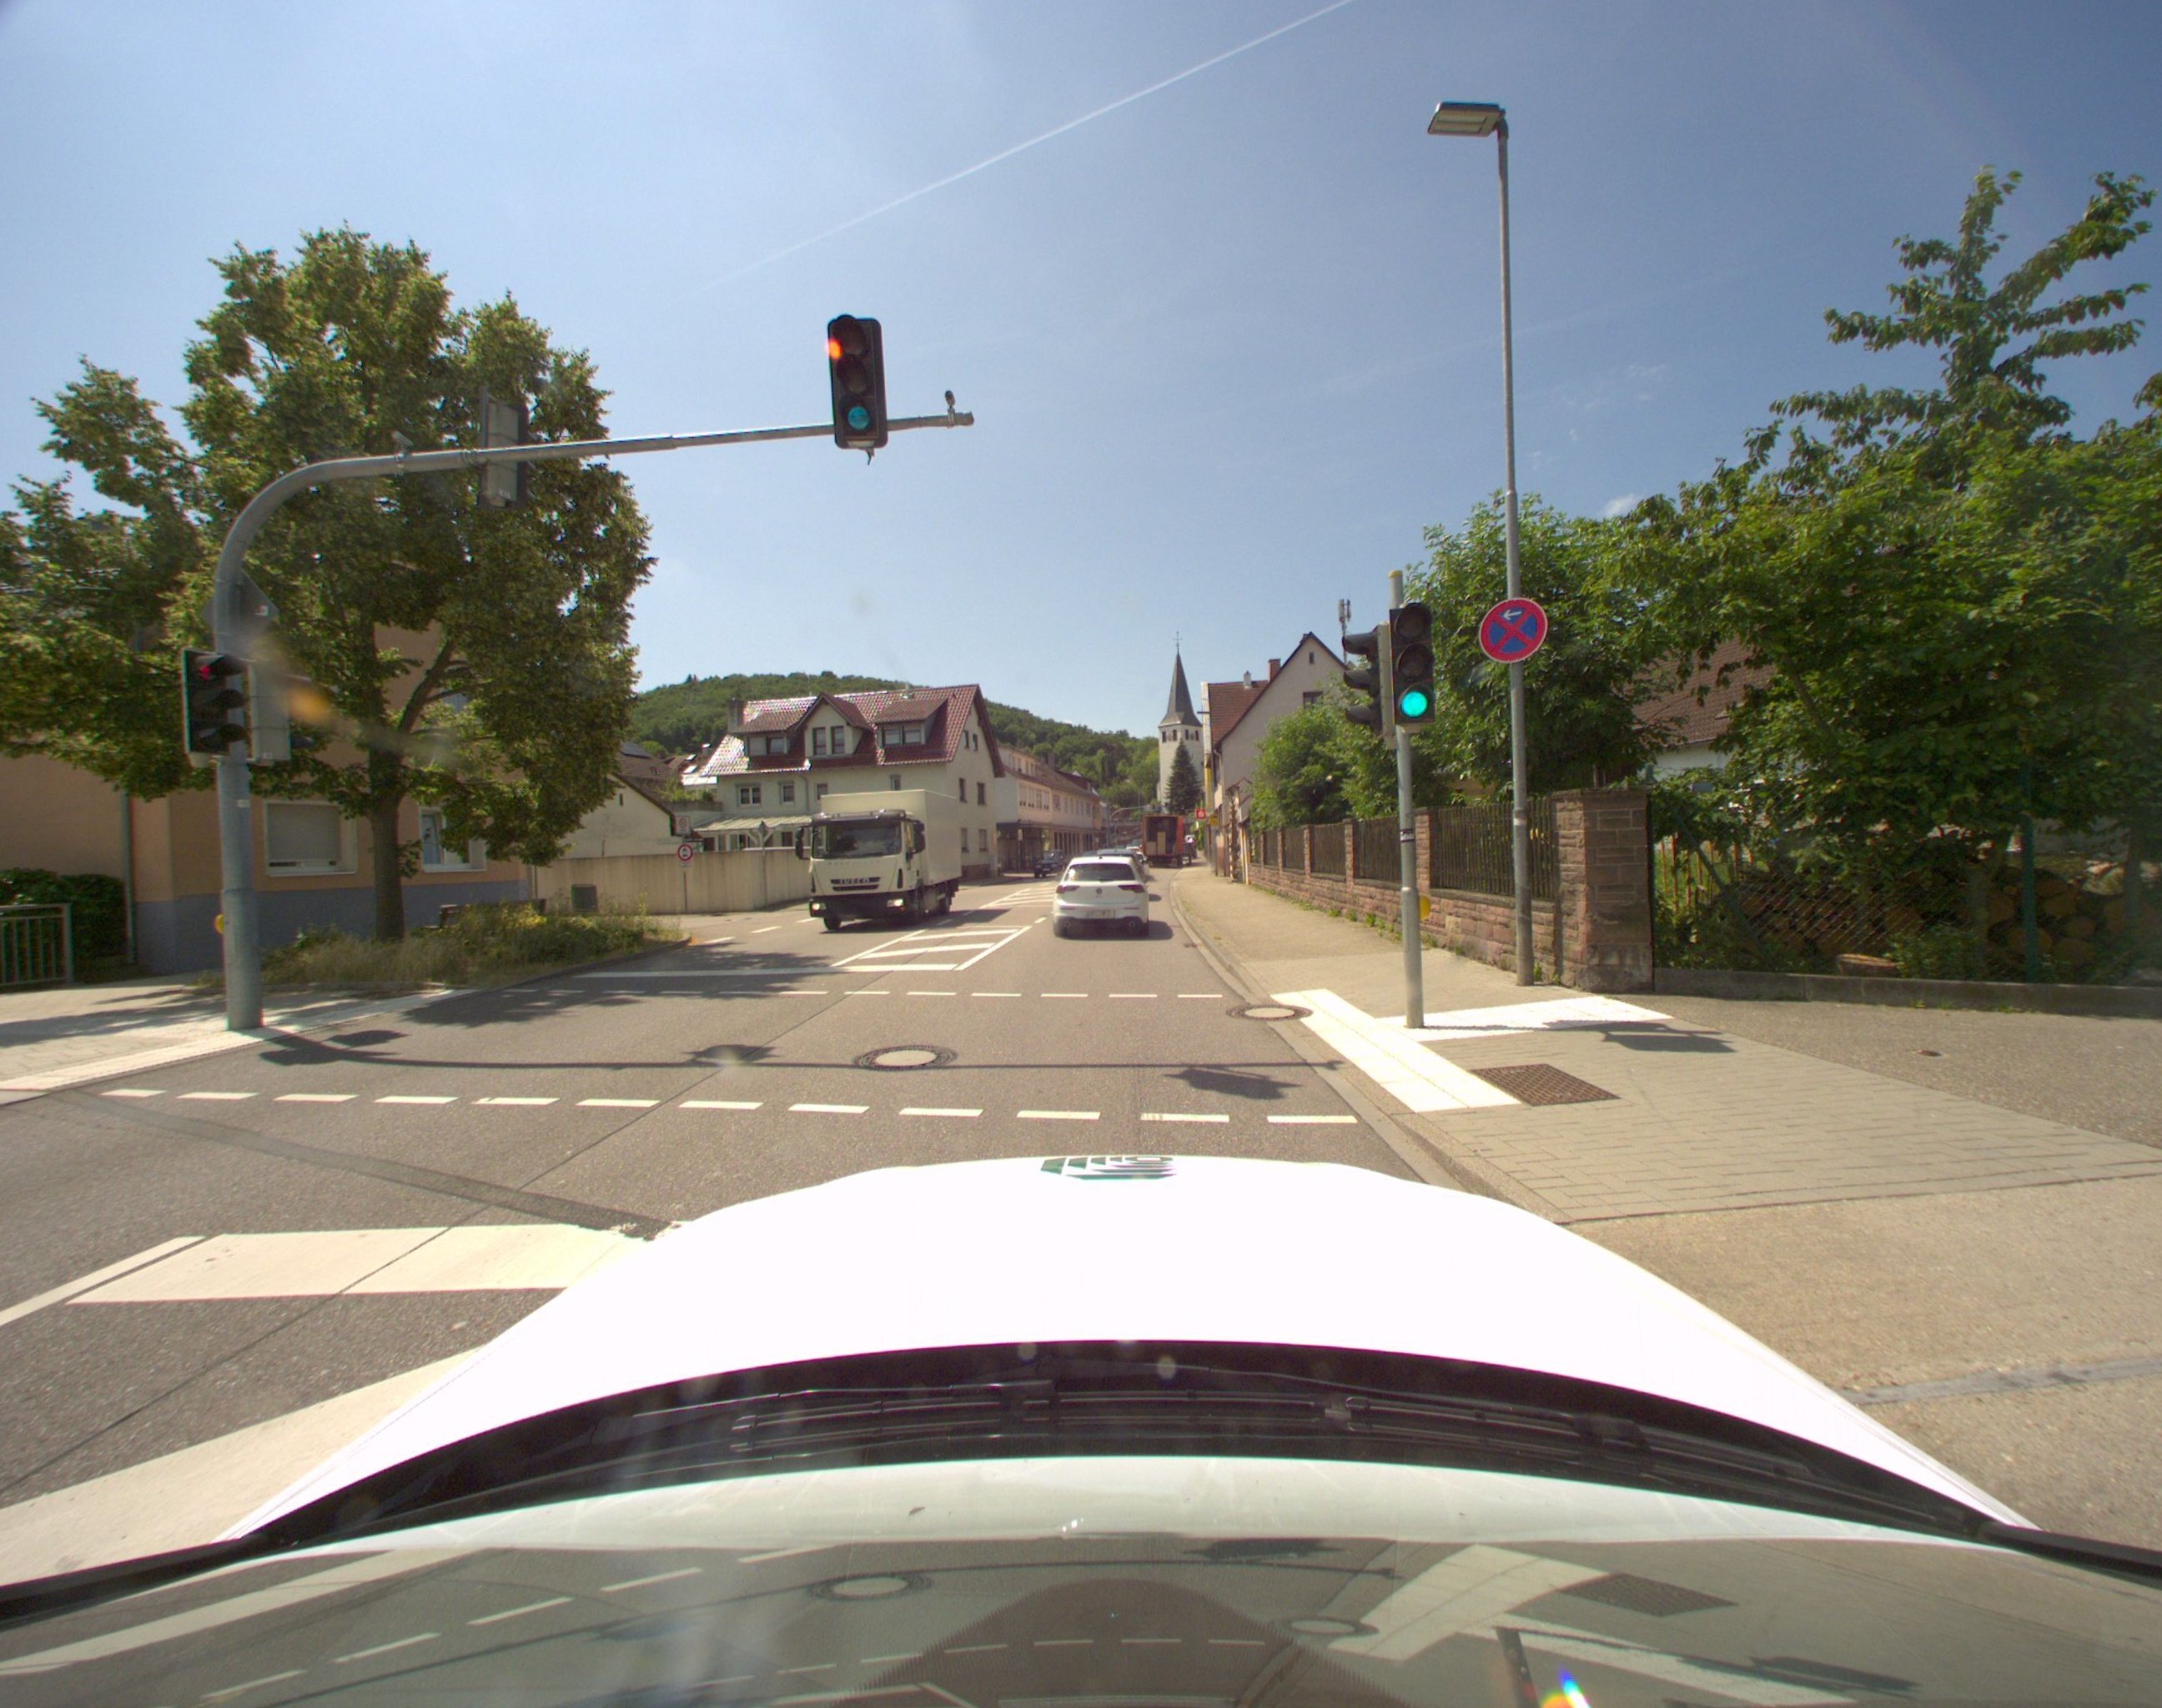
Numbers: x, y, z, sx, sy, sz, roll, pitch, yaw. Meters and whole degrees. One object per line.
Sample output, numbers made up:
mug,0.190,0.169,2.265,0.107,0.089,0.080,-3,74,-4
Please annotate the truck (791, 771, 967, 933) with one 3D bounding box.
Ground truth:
truck,-4.631,-0.022,19.964,2.493,3.235,6.042,-3,-1,2

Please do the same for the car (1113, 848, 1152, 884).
car,2.621,0.579,41.414,1.807,1.628,4.004,-3,-1,4

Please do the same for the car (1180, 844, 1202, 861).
car,10.712,-0.176,79.714,1.807,1.519,4.004,-3,-1,4

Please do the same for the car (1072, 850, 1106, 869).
car,0.718,0.421,66.286,1.850,1.442,4.232,-3,-1,12

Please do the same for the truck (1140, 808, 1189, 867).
truck,6.670,-1.175,64.681,3.350,4.170,9.536,-3,-1,6

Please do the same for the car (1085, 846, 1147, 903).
car,1.214,0.636,26.813,1.807,1.628,4.004,-3,-1,4

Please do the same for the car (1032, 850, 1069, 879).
car,-1.858,0.626,51.132,1.730,1.651,3.675,-2,0,6

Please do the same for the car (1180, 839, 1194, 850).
car,16.199,-1.491,124.416,1.807,1.519,4.004,-3,-1,4

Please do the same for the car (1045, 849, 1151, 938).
car,0.442,0.699,16.128,1.807,1.519,4.004,-1,0,4

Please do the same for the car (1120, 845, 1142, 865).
car,4.347,0.103,70.191,1.807,1.519,4.004,-3,-1,4

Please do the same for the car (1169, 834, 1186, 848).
car,11.992,-1.596,101.025,1.807,1.519,4.004,-3,-1,4
